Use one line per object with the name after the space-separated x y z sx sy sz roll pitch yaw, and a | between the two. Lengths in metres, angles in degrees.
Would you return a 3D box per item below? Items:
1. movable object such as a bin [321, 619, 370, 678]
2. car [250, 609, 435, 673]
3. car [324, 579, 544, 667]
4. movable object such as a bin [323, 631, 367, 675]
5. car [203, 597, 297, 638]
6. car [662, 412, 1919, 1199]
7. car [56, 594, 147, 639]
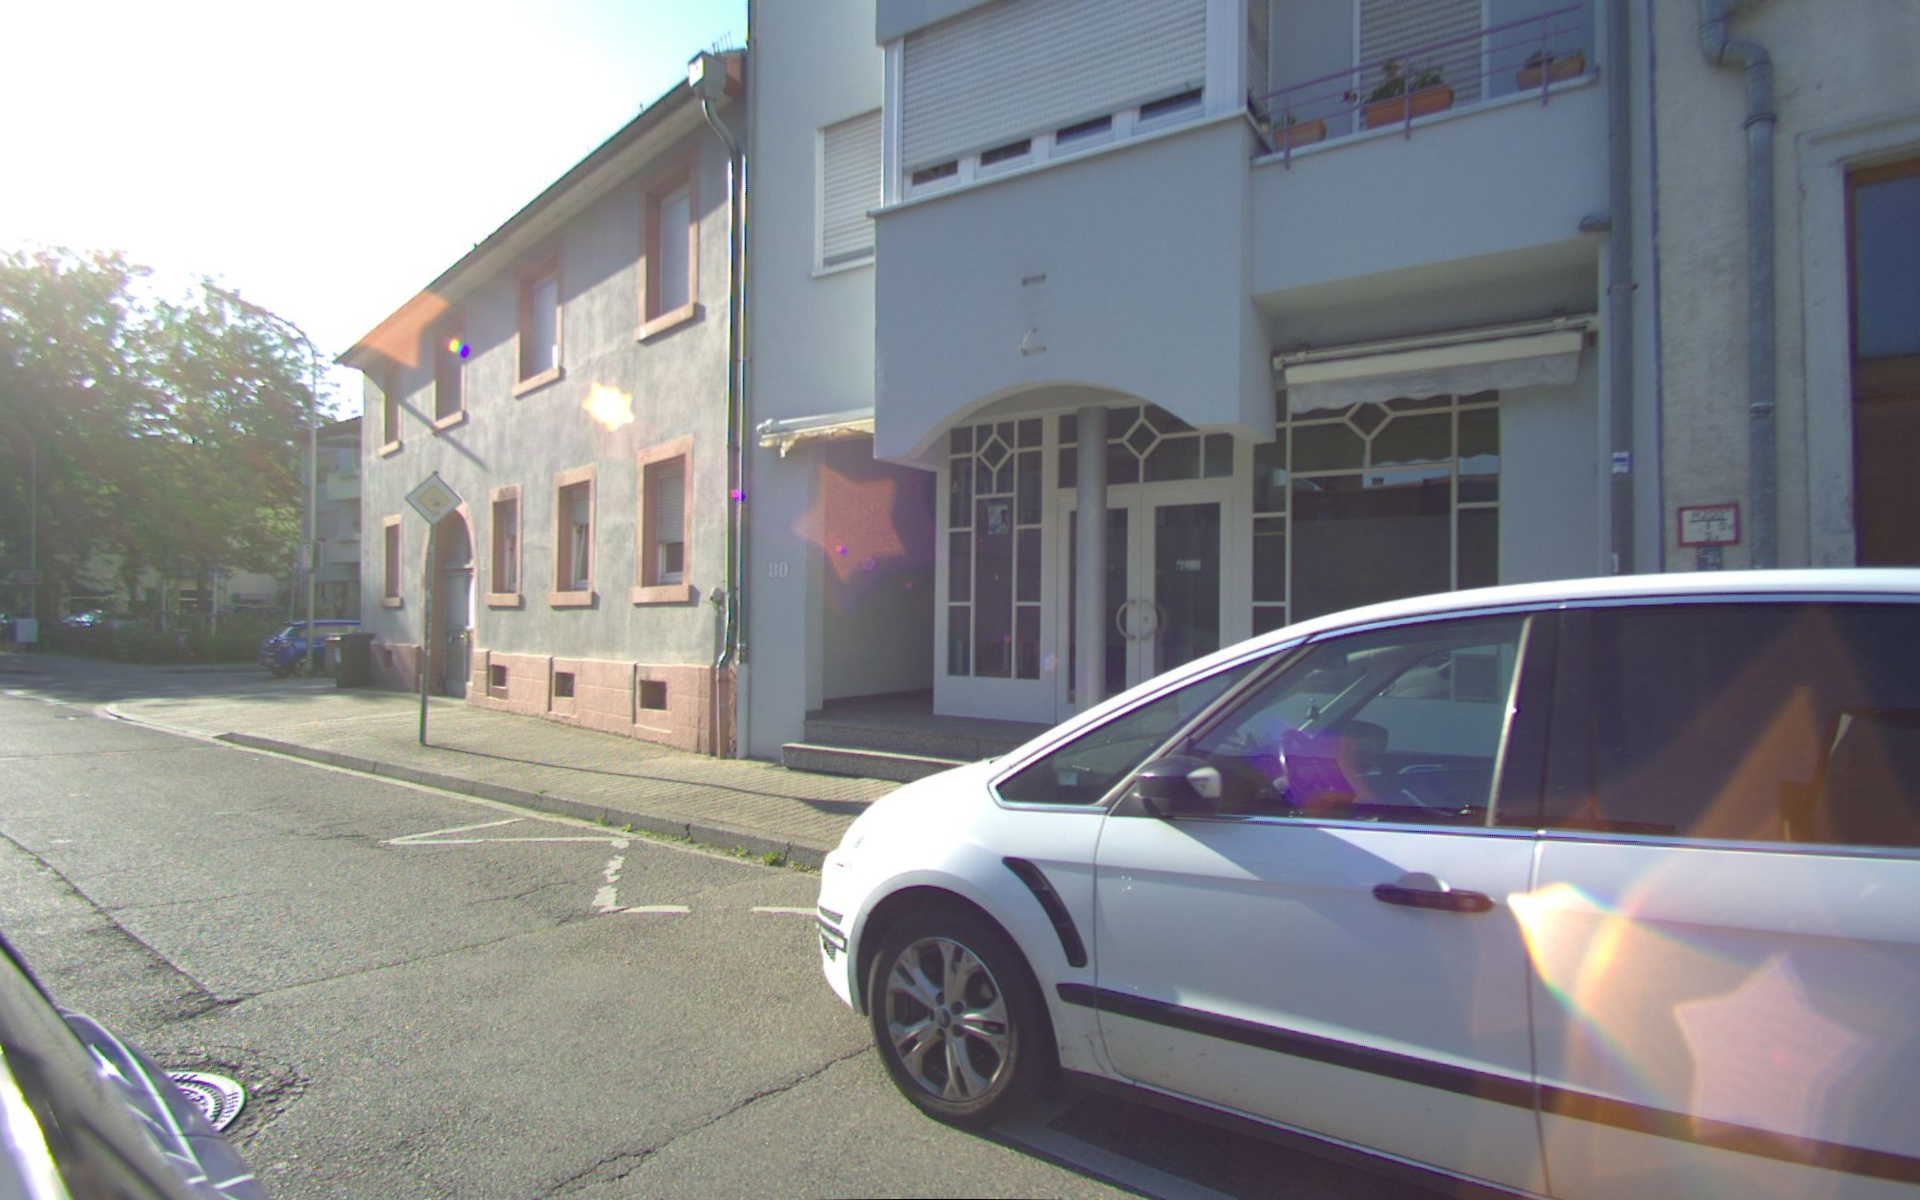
-12.151 0.945 20.013 0.750 1.102 0.593 0 0 38 | movable object such as a bin
-16.235 1.057 26.737 1.997 1.542 3.731 -1 -2 38 | car
-12.895 0.514 25.025 1.986 1.808 4.321 -4 1 39 | car
-12.646 1.079 20.813 0.605 0.879 0.593 -1 -1 36 | movable object such as a bin
-35.213 0.829 50.187 4.300 1.963 2.007 0 -1 26 | car
1.594 0.513 2.999 5.210 1.660 1.976 -1 0 35 | car
-38.345 0.714 45.149 4.892 1.909 1.828 -1 -1 34 | car
